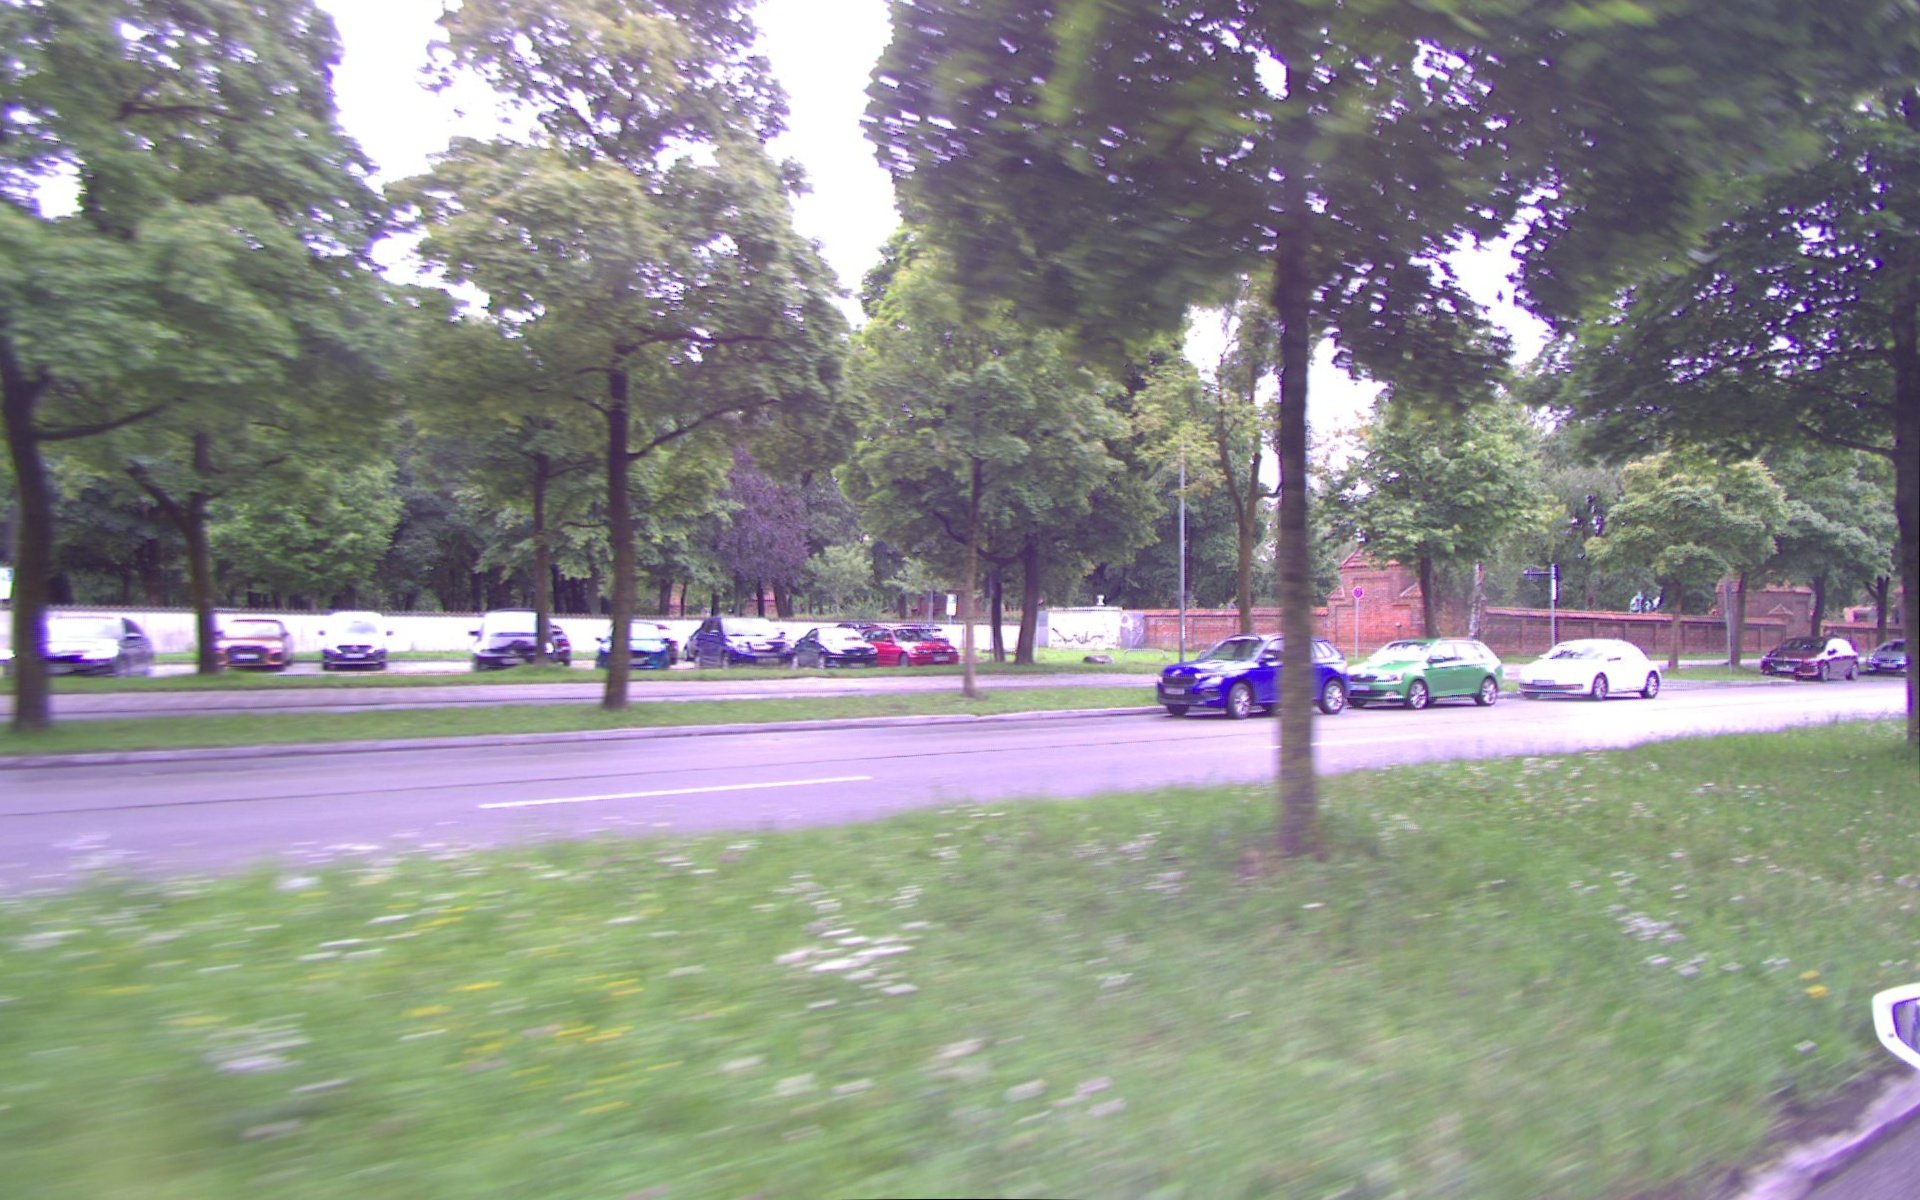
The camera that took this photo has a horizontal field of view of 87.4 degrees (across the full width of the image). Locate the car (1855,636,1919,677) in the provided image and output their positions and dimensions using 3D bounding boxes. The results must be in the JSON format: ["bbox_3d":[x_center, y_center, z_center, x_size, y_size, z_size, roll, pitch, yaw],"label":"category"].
[{"bbox_3d":[39.317,2.326,41.899,4.391,1.557,1.804,1,-1,-32],"label":"car"}]

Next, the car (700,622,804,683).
[{"bbox_3d":[-5.848,1.397,27.835,1.972,1.524,4.338,1,-1,-24],"label":"car"}]

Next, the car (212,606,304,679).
[{"bbox_3d":[-22.157,1.271,31.863,1.977,2.061,4.483,1,0,-30],"label":"car"}]

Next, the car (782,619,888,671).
[{"bbox_3d":[-3.763,1.288,29.697,1.738,1.410,3.959,1,-2,-29],"label":"car"}]

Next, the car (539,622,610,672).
[{"bbox_3d":[-14.119,1.667,36.649,1.794,1.557,3.967,1,0,-30],"label":"car"}]

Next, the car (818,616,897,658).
[{"bbox_3d":[-4.356,1.531,42.078,1.794,1.557,3.967,1,0,-30],"label":"car"}]

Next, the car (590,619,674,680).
[{"bbox_3d":[-8.801,1.291,27.193,1.968,1.524,3.986,1,-1,-16],"label":"car"}]

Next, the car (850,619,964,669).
[{"bbox_3d":[-1.701,1.287,30.693,1.738,1.410,4.394,1,-2,-29],"label":"car"}]

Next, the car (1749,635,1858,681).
[{"bbox_3d":[30.997,2.088,36.887,4.250,1.557,1.804,1,-1,-32],"label":"car"}]

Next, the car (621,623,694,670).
[{"bbox_3d":[-11.586,1.724,38.339,1.794,1.557,3.967,1,0,-30],"label":"car"}]

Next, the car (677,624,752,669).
[{"bbox_3d":[-9.698,1.785,39.528,1.794,1.557,3.967,1,0,-30],"label":"car"}]

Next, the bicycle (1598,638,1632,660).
[{"bbox_3d":[28.775,2.161,44.134,1.602,0.949,0.651,2,-1,-33],"label":"bicycle"}]

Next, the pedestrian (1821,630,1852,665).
[{"bbox_3d":[40.496,2.185,46.429,0.778,1.588,0.777,1,-1,6],"label":"pedestrian"}]

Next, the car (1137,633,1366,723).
[{"bbox_3d":[5.633,1.444,19.282,4.267,1.557,1.877,1,-4,-32],"label":"car"}]

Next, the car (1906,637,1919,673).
[{"bbox_3d":[44.369,2.493,44.949,4.765,1.557,1.804,1,-1,-32],"label":"car"}]

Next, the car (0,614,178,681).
[{"bbox_3d":[-17.920,0.937,20.899,1.760,1.225,4.159,1,-2,-26],"label":"car"}]

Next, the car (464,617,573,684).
[{"bbox_3d":[-10.971,1.211,25.228,1.968,1.524,3.986,1,-1,-16],"label":"car"}]

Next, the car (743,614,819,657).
[{"bbox_3d":[-7.392,1.433,41.167,1.794,1.557,3.967,1,0,-30],"label":"car"}]

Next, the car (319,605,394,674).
[{"bbox_3d":[-20.022,1.262,33.450,1.977,2.061,4.483,1,0,-30],"label":"car"}]

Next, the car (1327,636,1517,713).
[{"bbox_3d":[10.170,1.588,22.041,4.264,1.557,1.631,1,-4,-31],"label":"car"}]

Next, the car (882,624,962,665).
[{"bbox_3d":[-1.708,1.902,43.712,1.794,1.557,3.967,1,0,-30],"label":"car"}]

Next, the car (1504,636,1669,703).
[{"bbox_3d":[15.870,1.725,25.415,4.264,1.557,1.753,1,-4,-31],"label":"car"}]
